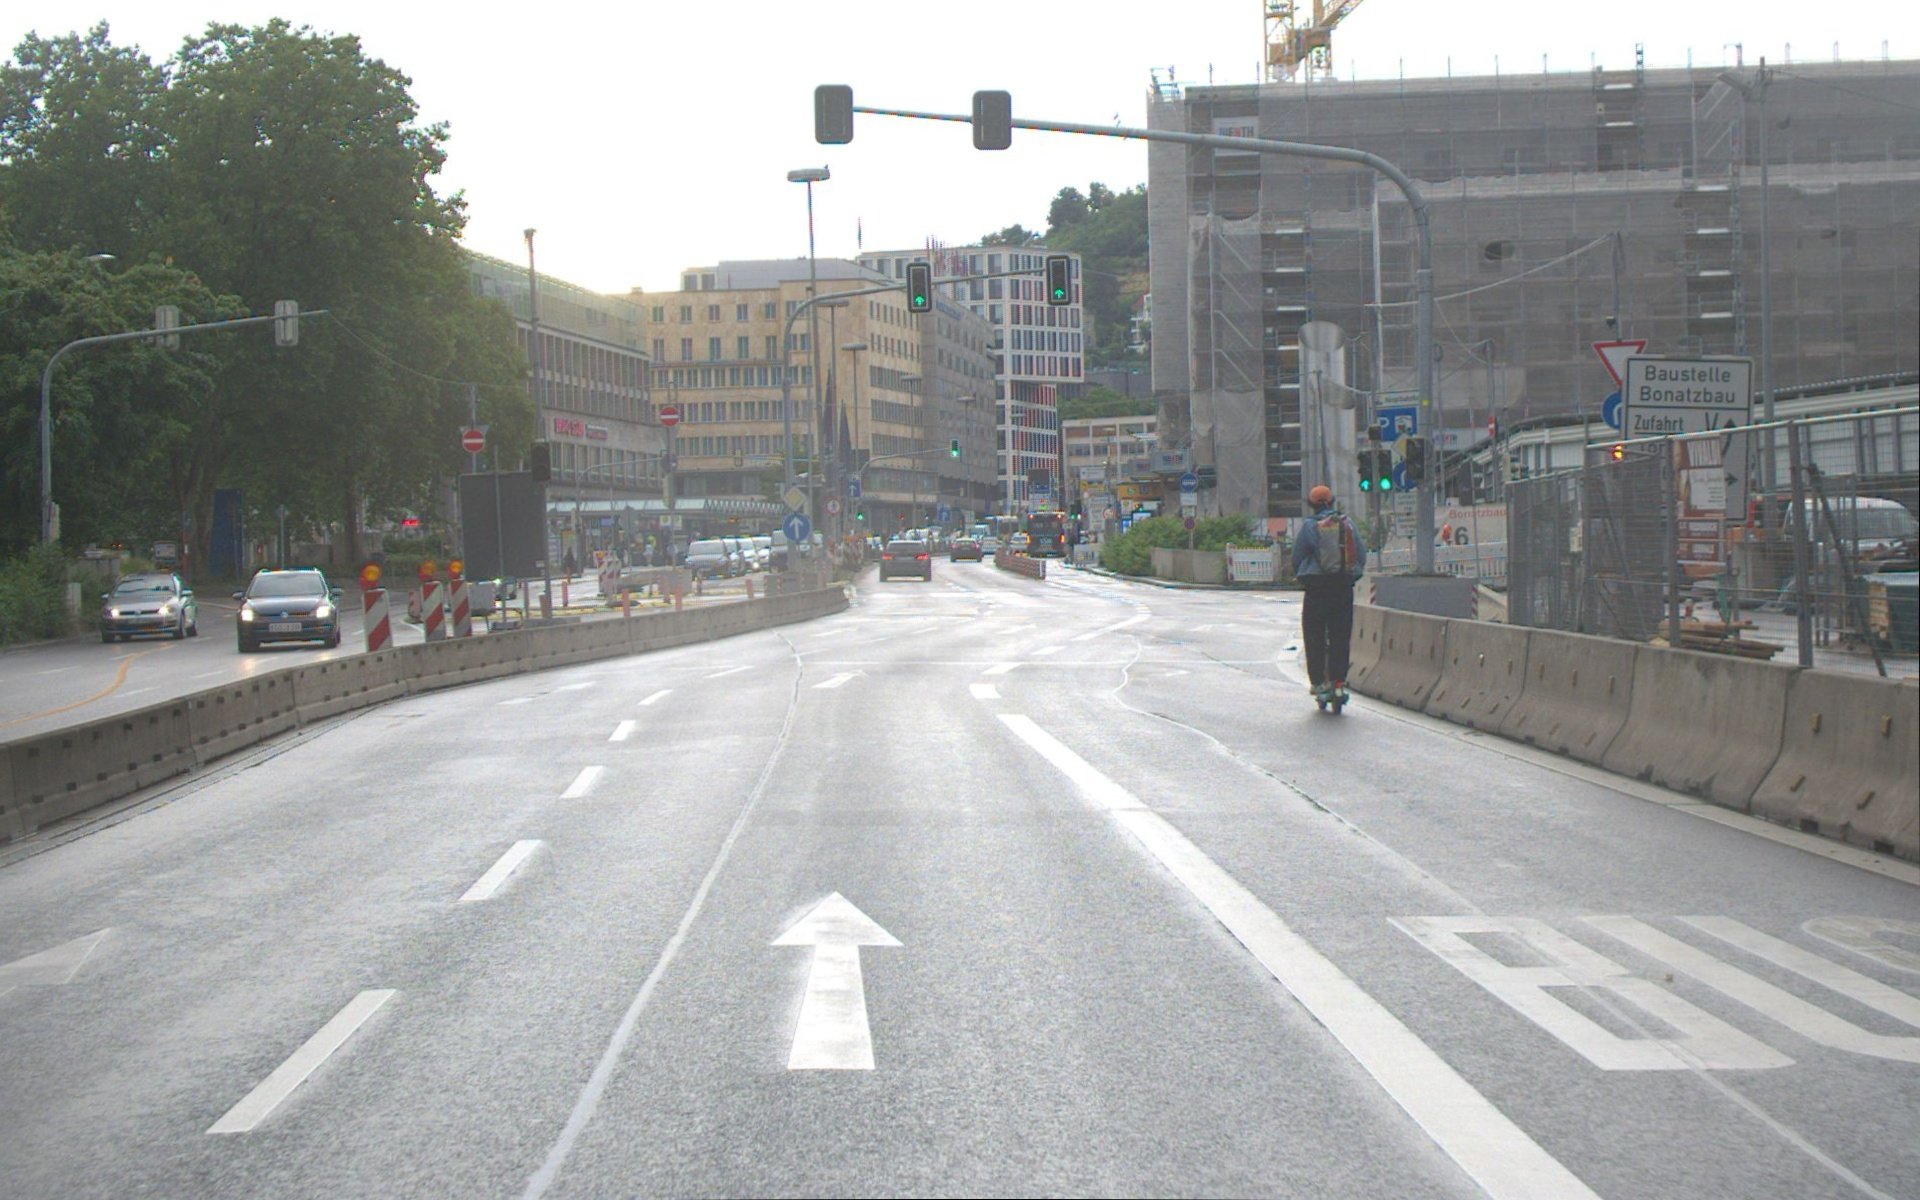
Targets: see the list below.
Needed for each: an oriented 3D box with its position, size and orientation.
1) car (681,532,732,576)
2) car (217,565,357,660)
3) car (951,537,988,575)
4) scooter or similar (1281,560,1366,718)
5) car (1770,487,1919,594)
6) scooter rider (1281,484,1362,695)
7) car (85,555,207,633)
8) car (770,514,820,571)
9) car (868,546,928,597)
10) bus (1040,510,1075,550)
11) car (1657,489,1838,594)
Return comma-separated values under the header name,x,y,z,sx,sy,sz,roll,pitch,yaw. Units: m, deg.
name,x,y,z,sx,sy,sz,roll,pitch,yaw
car,-10.388,-1.870,140.922,1.902,1.523,4.177,-3,-1,-3
car,-12.350,0.256,63.333,1.993,1.536,4.580,-3,-1,-5
car,0.565,-2.581,202.801,1.993,2.007,4.000,-3,-1,1
scooter or similar,3.136,0.321,29.763,0.597,1.314,1.667,-1,1,2
car,16.159,-1.111,61.944,1.846,1.800,5.087,-1,2,-1
scooter rider,3.123,-0.096,29.748,0.597,1.779,0.997,-1,1,2
car,-18.319,-0.115,77.555,1.993,1.536,4.446,-3,-1,-5
car,-6.785,-2.349,141.428,1.902,2.075,4.177,-3,-1,-3
car,-2.185,-0.980,120.190,1.902,1.523,4.177,-3,-1,-3
bus,6.669,-4.770,234.227,1.994,2.423,3.999,-3,-1,5
car,15.486,-1.141,67.897,1.911,1.968,5.164,-1,1,-6
